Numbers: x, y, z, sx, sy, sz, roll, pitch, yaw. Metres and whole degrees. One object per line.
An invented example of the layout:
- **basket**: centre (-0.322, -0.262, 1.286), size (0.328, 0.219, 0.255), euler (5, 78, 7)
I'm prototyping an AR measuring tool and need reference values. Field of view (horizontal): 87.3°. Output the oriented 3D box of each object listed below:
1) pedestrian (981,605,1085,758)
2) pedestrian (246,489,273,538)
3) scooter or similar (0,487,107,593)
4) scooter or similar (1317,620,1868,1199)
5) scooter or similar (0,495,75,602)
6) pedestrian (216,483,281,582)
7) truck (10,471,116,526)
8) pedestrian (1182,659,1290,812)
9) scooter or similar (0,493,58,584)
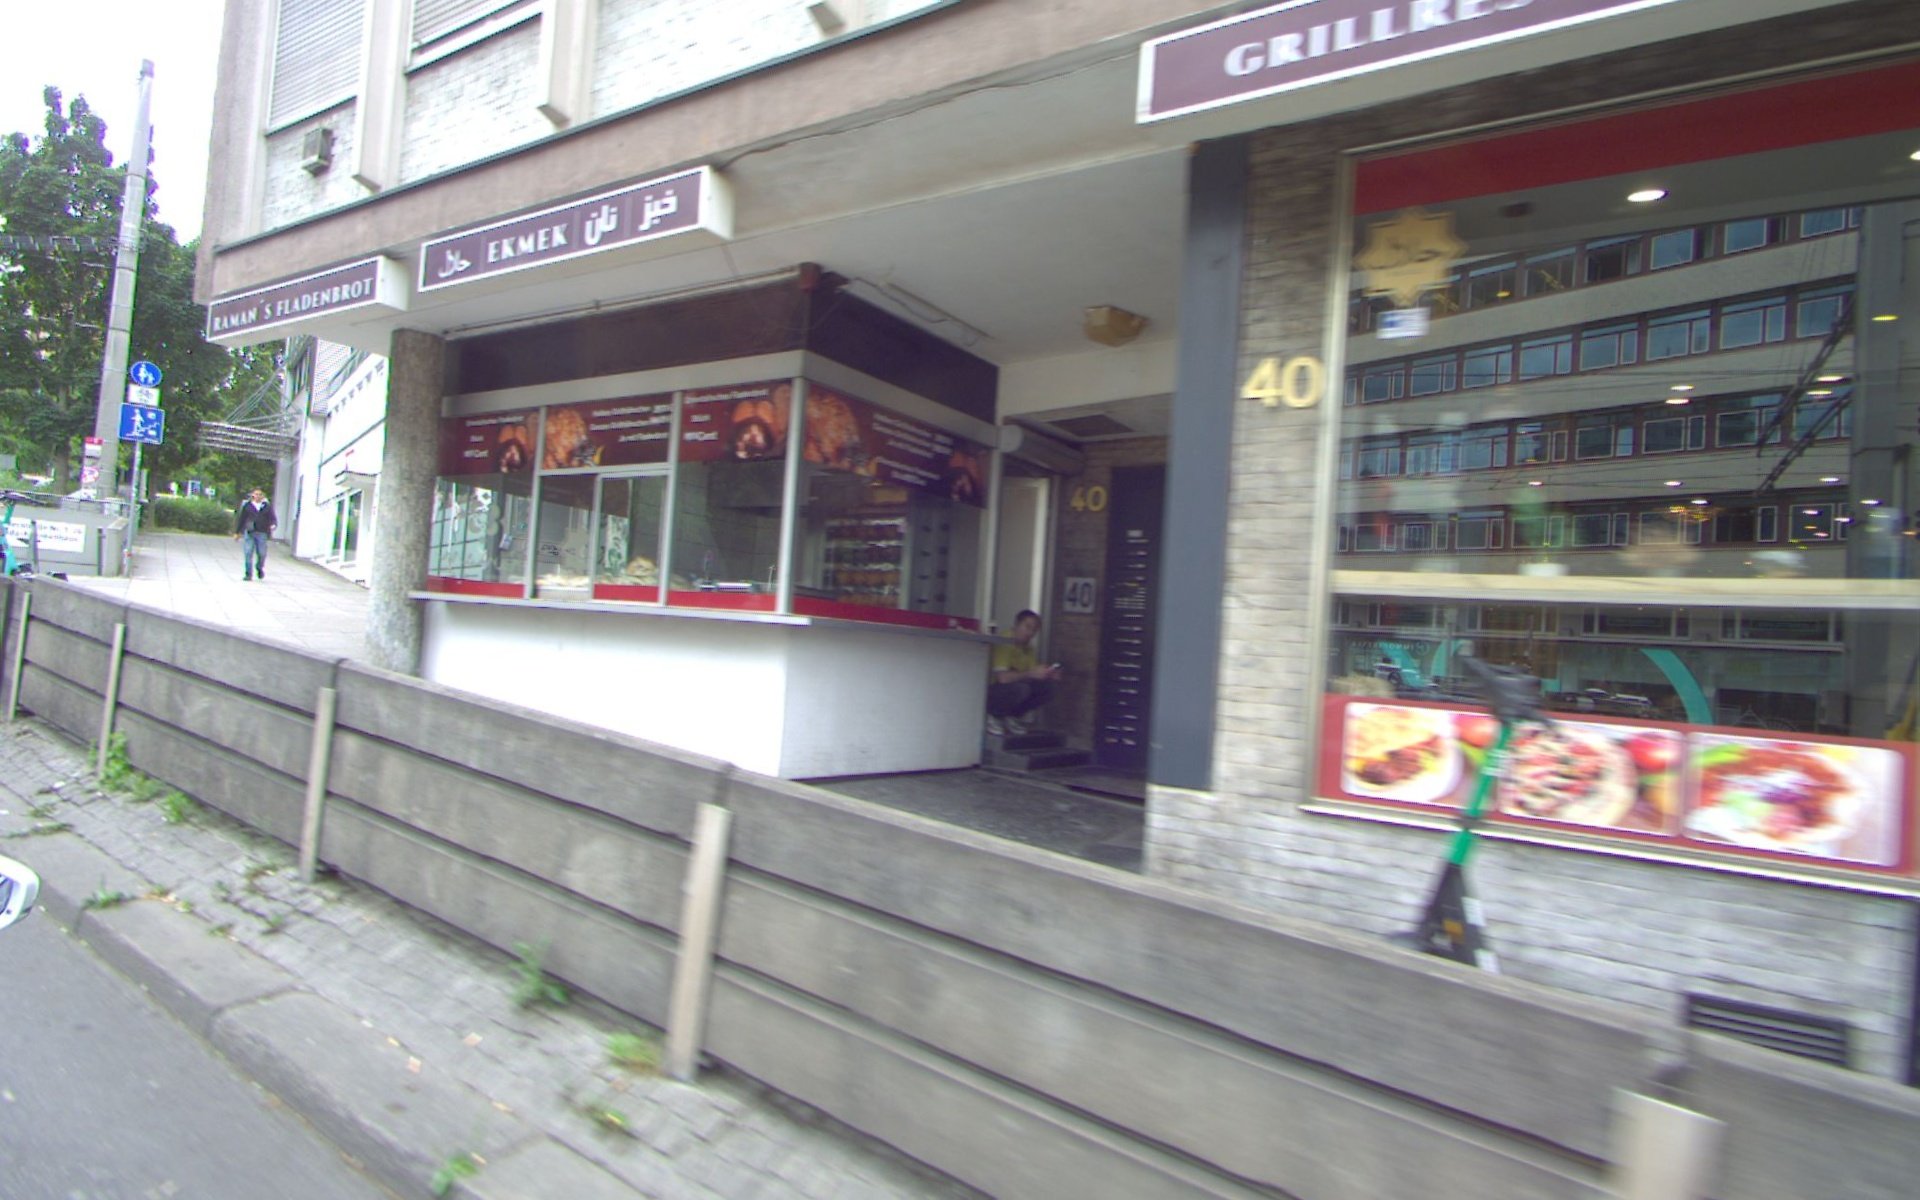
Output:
- **pedestrian**: centre (0.602, 0.661, 8.253), size (0.544, 1.159, 0.507), euler (7, 0, 35)
- **pedestrian**: centre (-27.316, -3.379, 39.232), size (0.670, 1.816, 0.602), euler (7, 1, -40)
- **scooter or similar**: centre (-11.899, -0.754, 12.899), size (0.546, 1.270, 1.445), euler (7, 1, 2)
- **scooter or similar**: centre (1.863, 0.889, 3.105), size (1.159, 1.493, 0.669), euler (7, 0, 33)
- **scooter or similar**: centre (-11.014, -0.602, 11.716), size (0.369, 1.196, 1.011), euler (7, 0, 2)
- **pedestrian**: centre (-14.471, -1.367, 20.490), size (0.829, 1.831, 1.140), euler (9, -1, -35)
- **truck**: centre (-67.353, -7.574, 75.771), size (2.898, 2.527, 7.128), euler (19, -6, -19)
- **pedestrian**: centre (1.976, 0.954, 7.188), size (0.488, 0.991, 0.507), euler (7, 0, 36)
- **scooter or similar**: centre (-13.303, -0.880, 13.696), size (0.572, 1.196, 1.446), euler (7, -1, 2)
